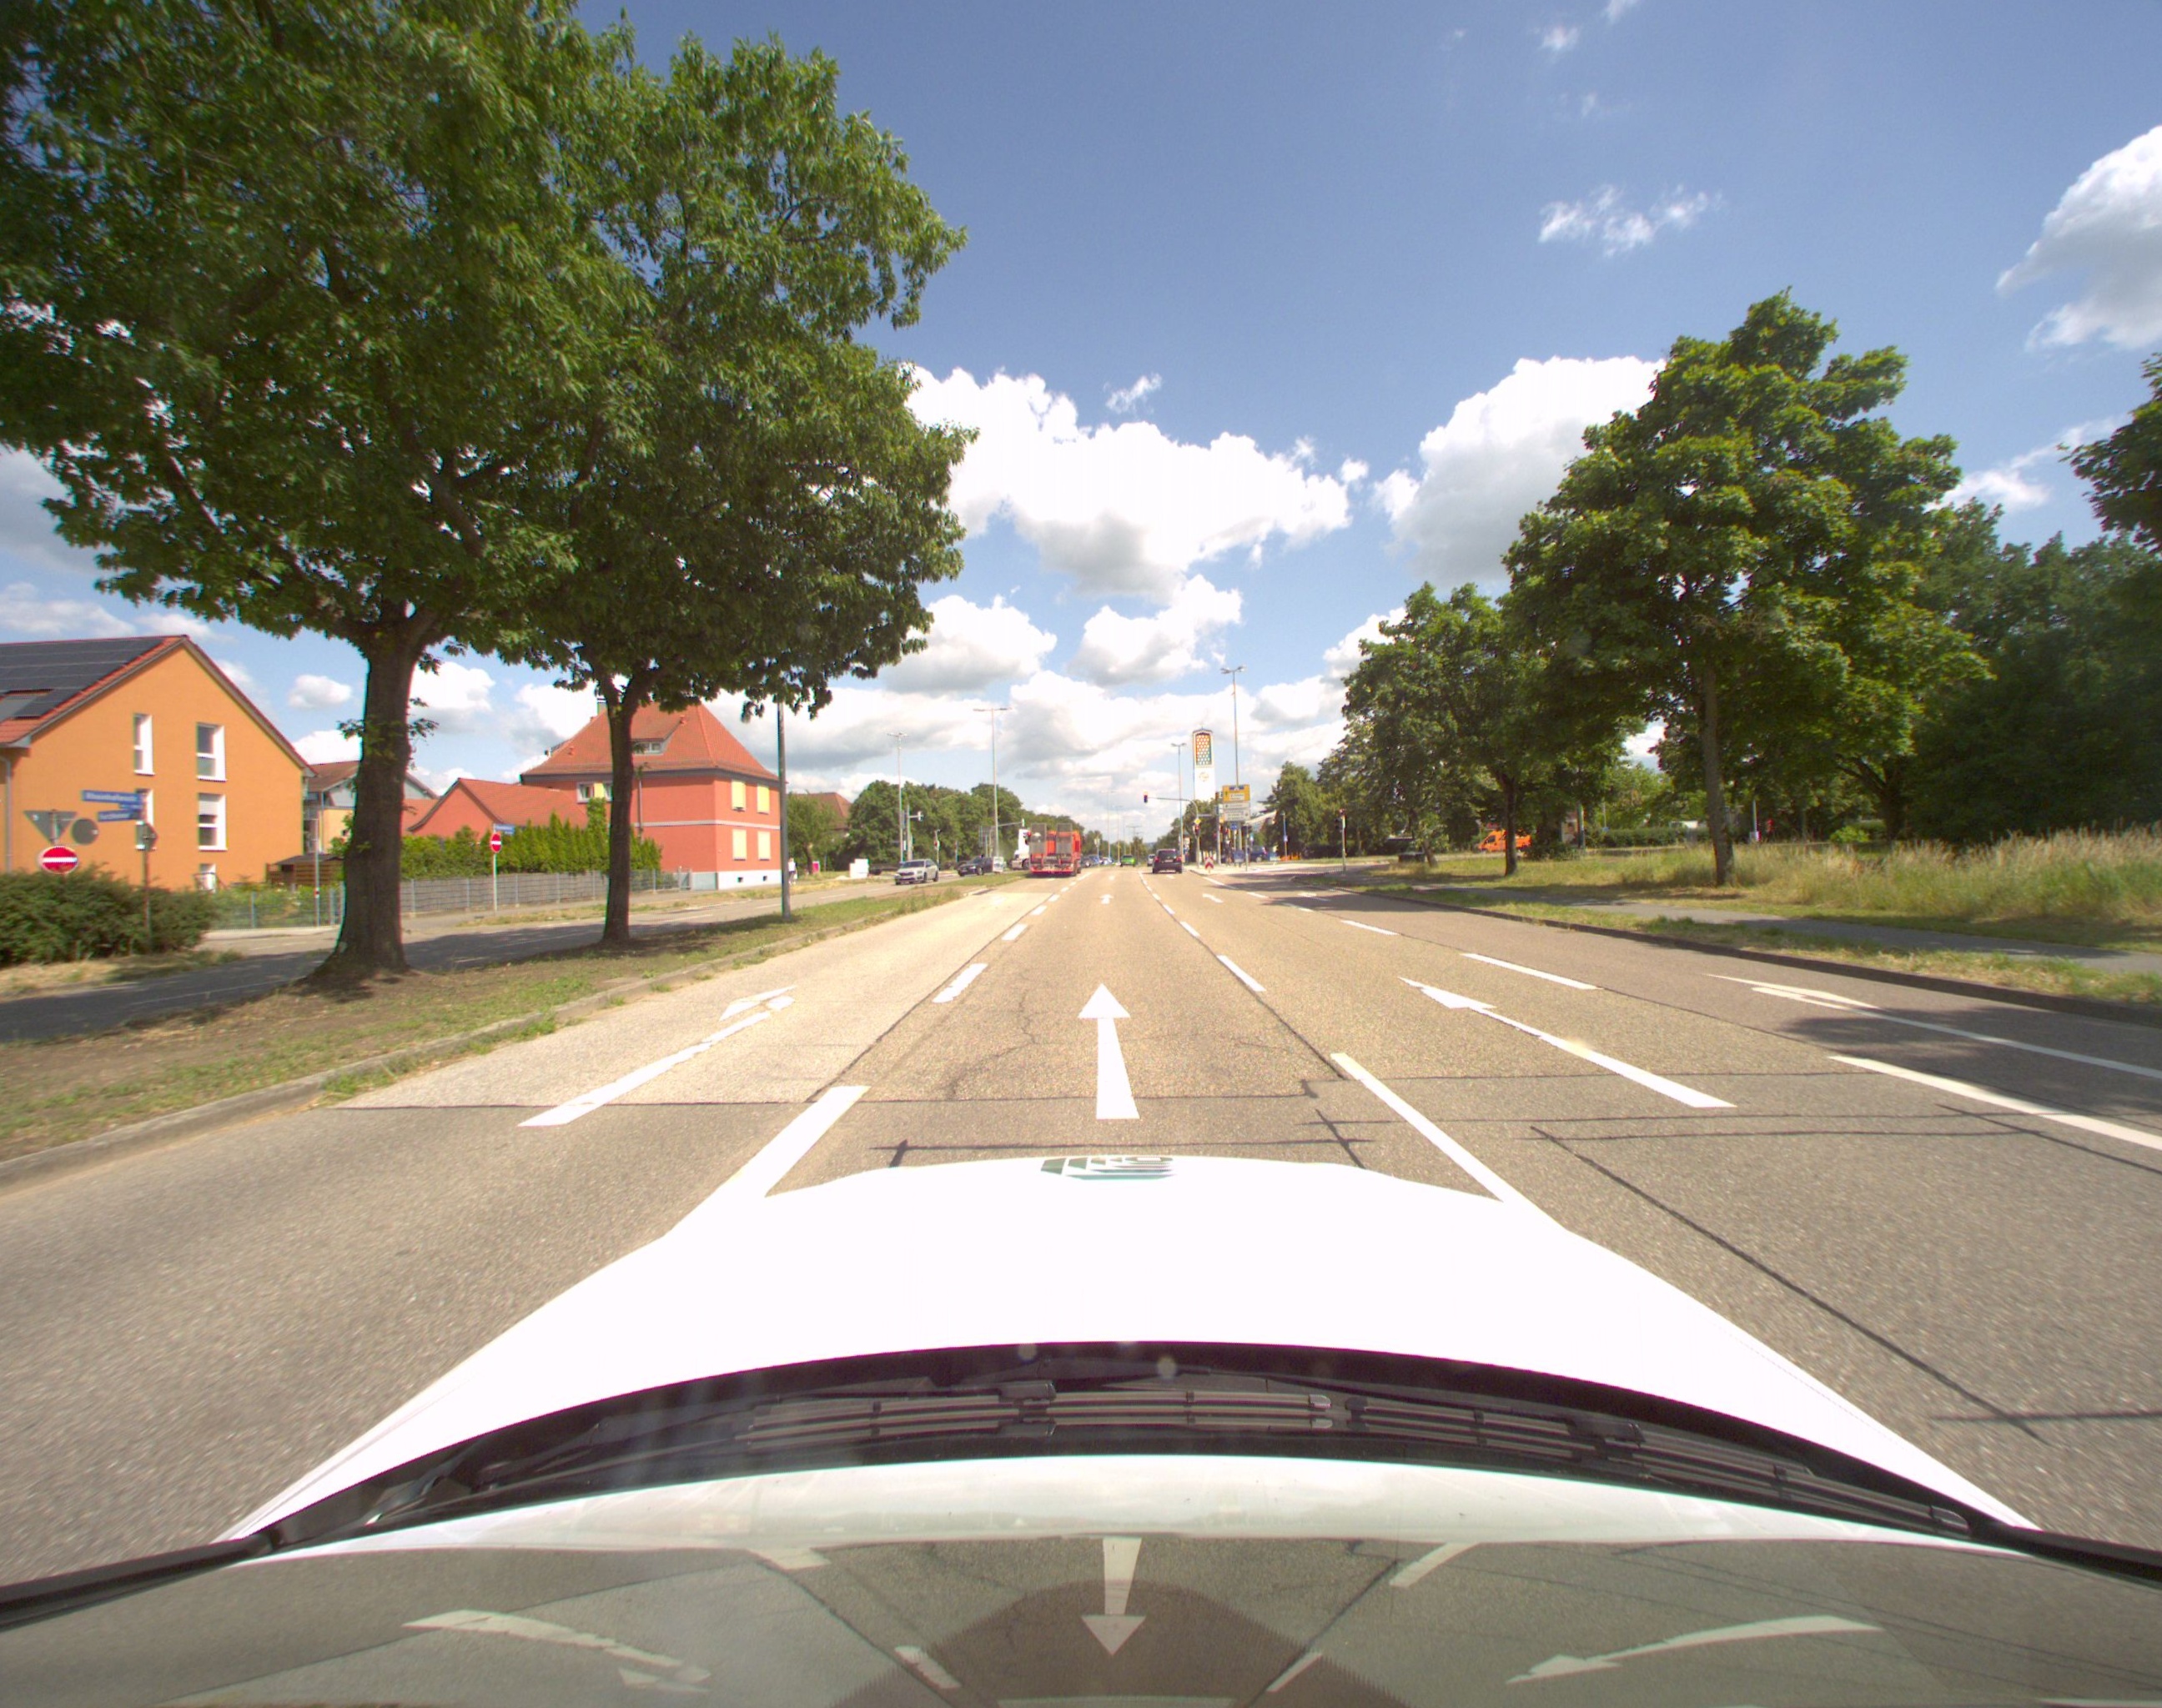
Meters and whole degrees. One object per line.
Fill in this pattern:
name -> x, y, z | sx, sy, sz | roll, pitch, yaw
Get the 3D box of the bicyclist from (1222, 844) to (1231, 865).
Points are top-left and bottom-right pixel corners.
bicyclist -> 11.595, 0.021, 64.976 | 0.643, 1.661, 0.653 | 0, -1, 18

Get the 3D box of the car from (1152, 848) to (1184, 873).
car -> 5.635, 0.412, 52.848 | 1.792, 1.552, 4.002 | 0, -1, 2

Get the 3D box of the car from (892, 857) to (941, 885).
car -> -9.883, 1.008, 49.136 | 1.726, 1.508, 4.654 | -5, -1, 2

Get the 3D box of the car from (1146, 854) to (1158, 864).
car -> 10.596, 0.760, 122.259 | 1.651, 1.555, 4.002 | 0, -1, 2

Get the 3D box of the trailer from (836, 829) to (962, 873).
trailer -> -17.473, -0.301, 78.812 | 11.233, 4.012, 3.636 | -1, 0, 3

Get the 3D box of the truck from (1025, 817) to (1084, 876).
truck -> -1.501, -0.367, 52.712 | 3.059, 3.414, 11.073 | 0, -1, 2

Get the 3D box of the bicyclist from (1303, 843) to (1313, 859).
bicyclist -> 25.335, -0.315, 90.942 | 0.779, 1.804, 0.690 | -2, -1, 34

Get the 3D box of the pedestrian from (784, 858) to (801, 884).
pedestrian -> -17.664, 1.045, 49.841 | 0.693, 1.583, 0.851 | 0, -1, 2

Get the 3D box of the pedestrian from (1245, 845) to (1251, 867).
pedestrian -> 13.208, 0.147, 64.426 | 0.461, 1.779, 0.484 | 0, -1, 13

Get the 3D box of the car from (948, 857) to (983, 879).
car -> -8.558, 1.024, 60.599 | 1.765, 1.438, 4.578 | -3, -1, 2

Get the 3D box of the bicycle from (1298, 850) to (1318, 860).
bicycle -> 25.352, 0.078, 90.940 | 1.977, 1.093, 0.690 | -2, -1, 34

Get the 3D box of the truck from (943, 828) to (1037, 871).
truck -> -8.693, -0.405, 78.425 | 8.572, 3.971, 2.972 | -1, -1, 3

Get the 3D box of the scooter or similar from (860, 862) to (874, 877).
scooter or similar -> -17.091, 1.261, 65.007 | 0.587, 1.164, 1.762 | 0, -1, 2

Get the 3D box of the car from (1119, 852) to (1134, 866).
car -> 5.582, 0.631, 100.081 | 1.733, 1.669, 3.592 | 0, -1, 2

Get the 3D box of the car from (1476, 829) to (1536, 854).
car -> 40.094, -1.130, 76.927 | 4.803, 2.226, 2.223 | 0, -1, 20

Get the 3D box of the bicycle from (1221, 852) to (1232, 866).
bicycle -> 11.653, 0.435, 65.155 | 0.643, 1.108, 1.937 | 0, -1, 18
